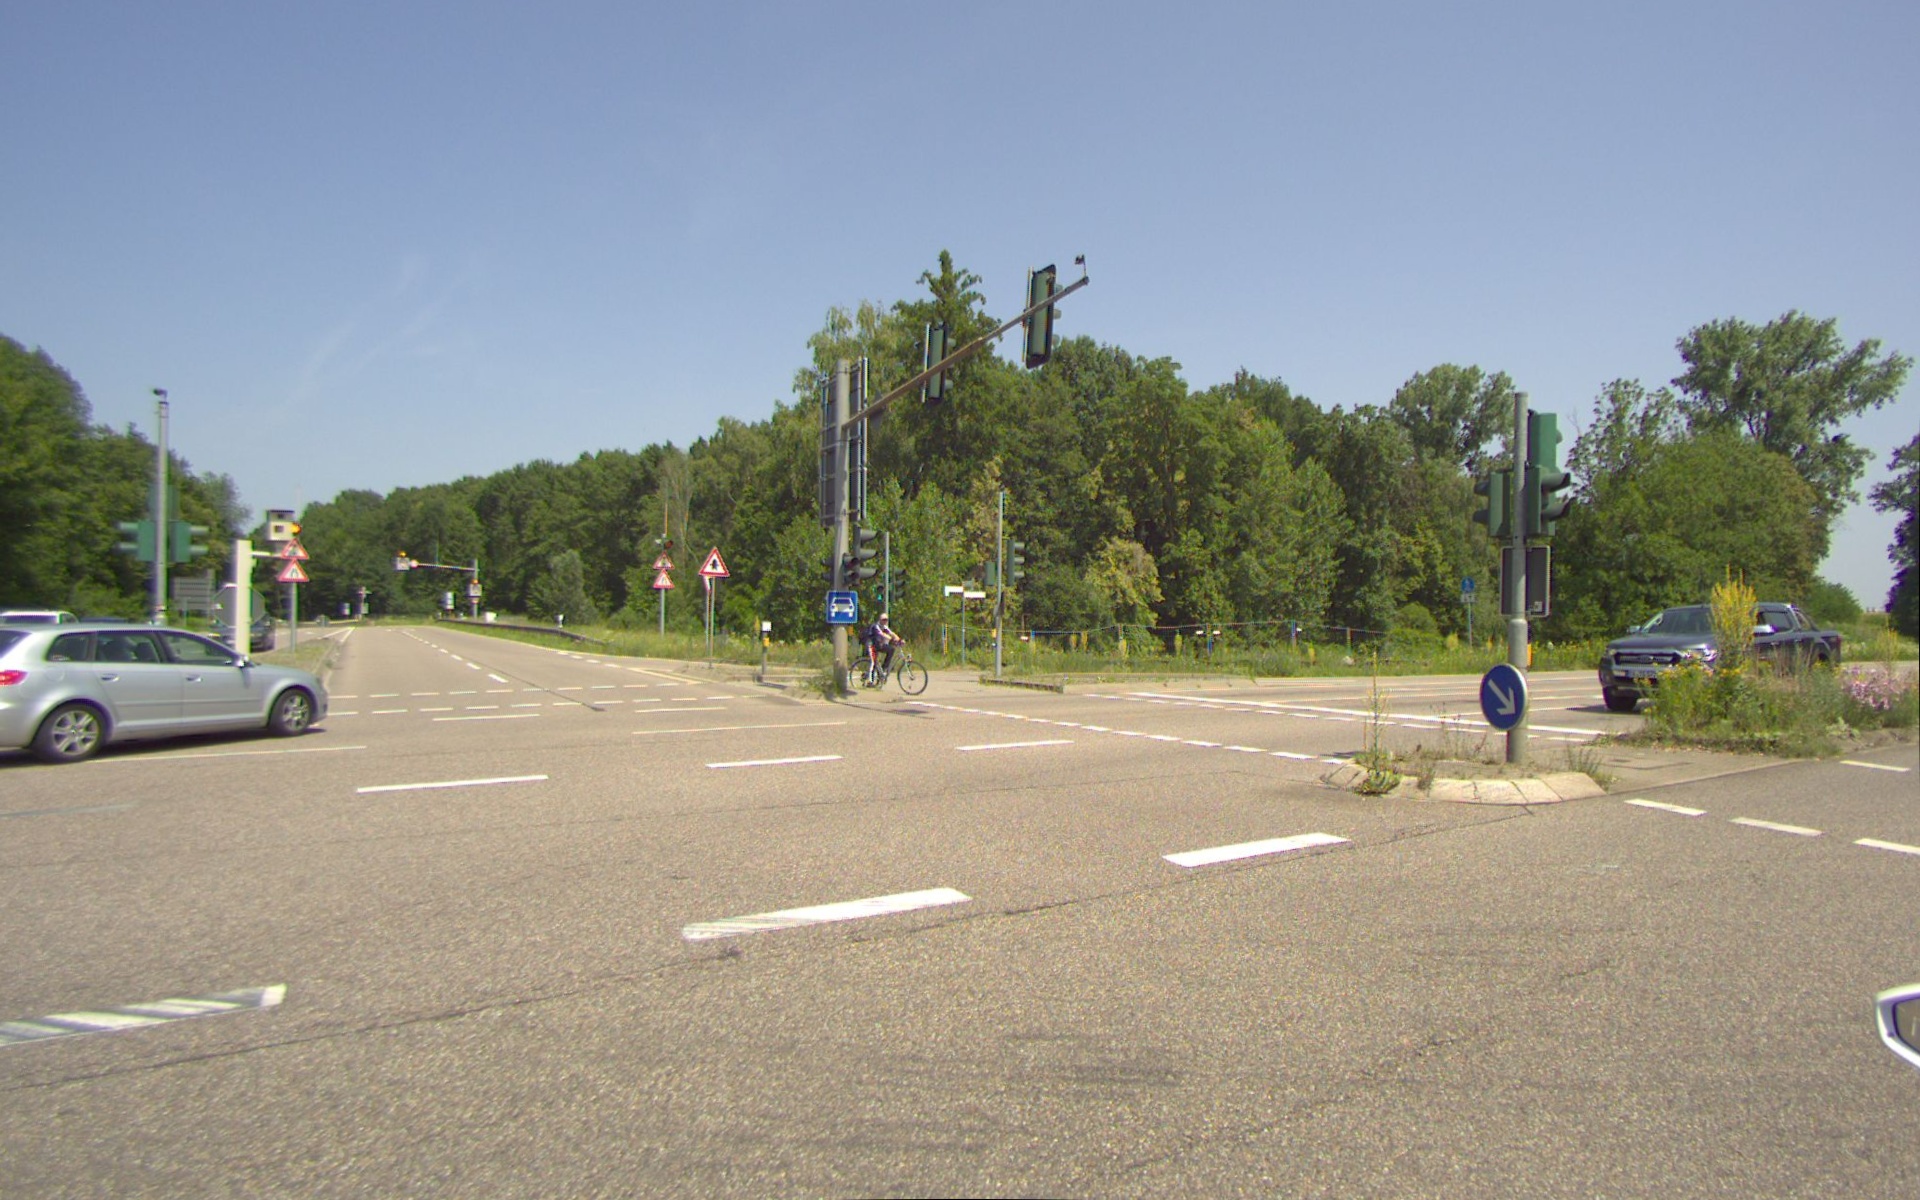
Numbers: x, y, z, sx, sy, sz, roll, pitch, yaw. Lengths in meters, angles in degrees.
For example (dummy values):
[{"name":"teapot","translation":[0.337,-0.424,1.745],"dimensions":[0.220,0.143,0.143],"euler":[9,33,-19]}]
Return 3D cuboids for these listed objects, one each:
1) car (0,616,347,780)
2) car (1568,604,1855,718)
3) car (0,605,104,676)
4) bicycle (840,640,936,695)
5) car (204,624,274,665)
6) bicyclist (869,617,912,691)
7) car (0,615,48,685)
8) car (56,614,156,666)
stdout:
[{"name":"car","translation":[-9.356,0.947,11.510],"dimensions":[1.734,1.410,4.017],"euler":[1,1,10]},{"name":"car","translation":[12.920,0.967,17.188],"dimensions":[5.301,1.700,1.985],"euler":[1,-2,-30]},{"name":"car","translation":[-27.077,1.140,29.433],"dimensions":[2.041,1.921,4.785],"euler":[1,-1,-29]},{"name":"bicycle","translation":[-1.448,1.353,20.435],"dimensions":[1.831,1.077,0.725],"euler":[0,-1,8]},{"name":"car","translation":[-28.699,1.718,40.077],"dimensions":[1.840,1.538,4.781],"euler":[1,-1,-31]},{"name":"bicyclist","translation":[-1.411,1.079,20.474],"dimensions":[0.701,1.479,0.927],"euler":[0,-1,8]},{"name":"car","translation":[-23.853,1.182,23.835],"dimensions":[1.974,1.657,4.789],"euler":[1,-1,-26]},{"name":"car","translation":[-31.145,1.422,36.782],"dimensions":[1.977,1.780,4.781],"euler":[1,-1,-31]}]
